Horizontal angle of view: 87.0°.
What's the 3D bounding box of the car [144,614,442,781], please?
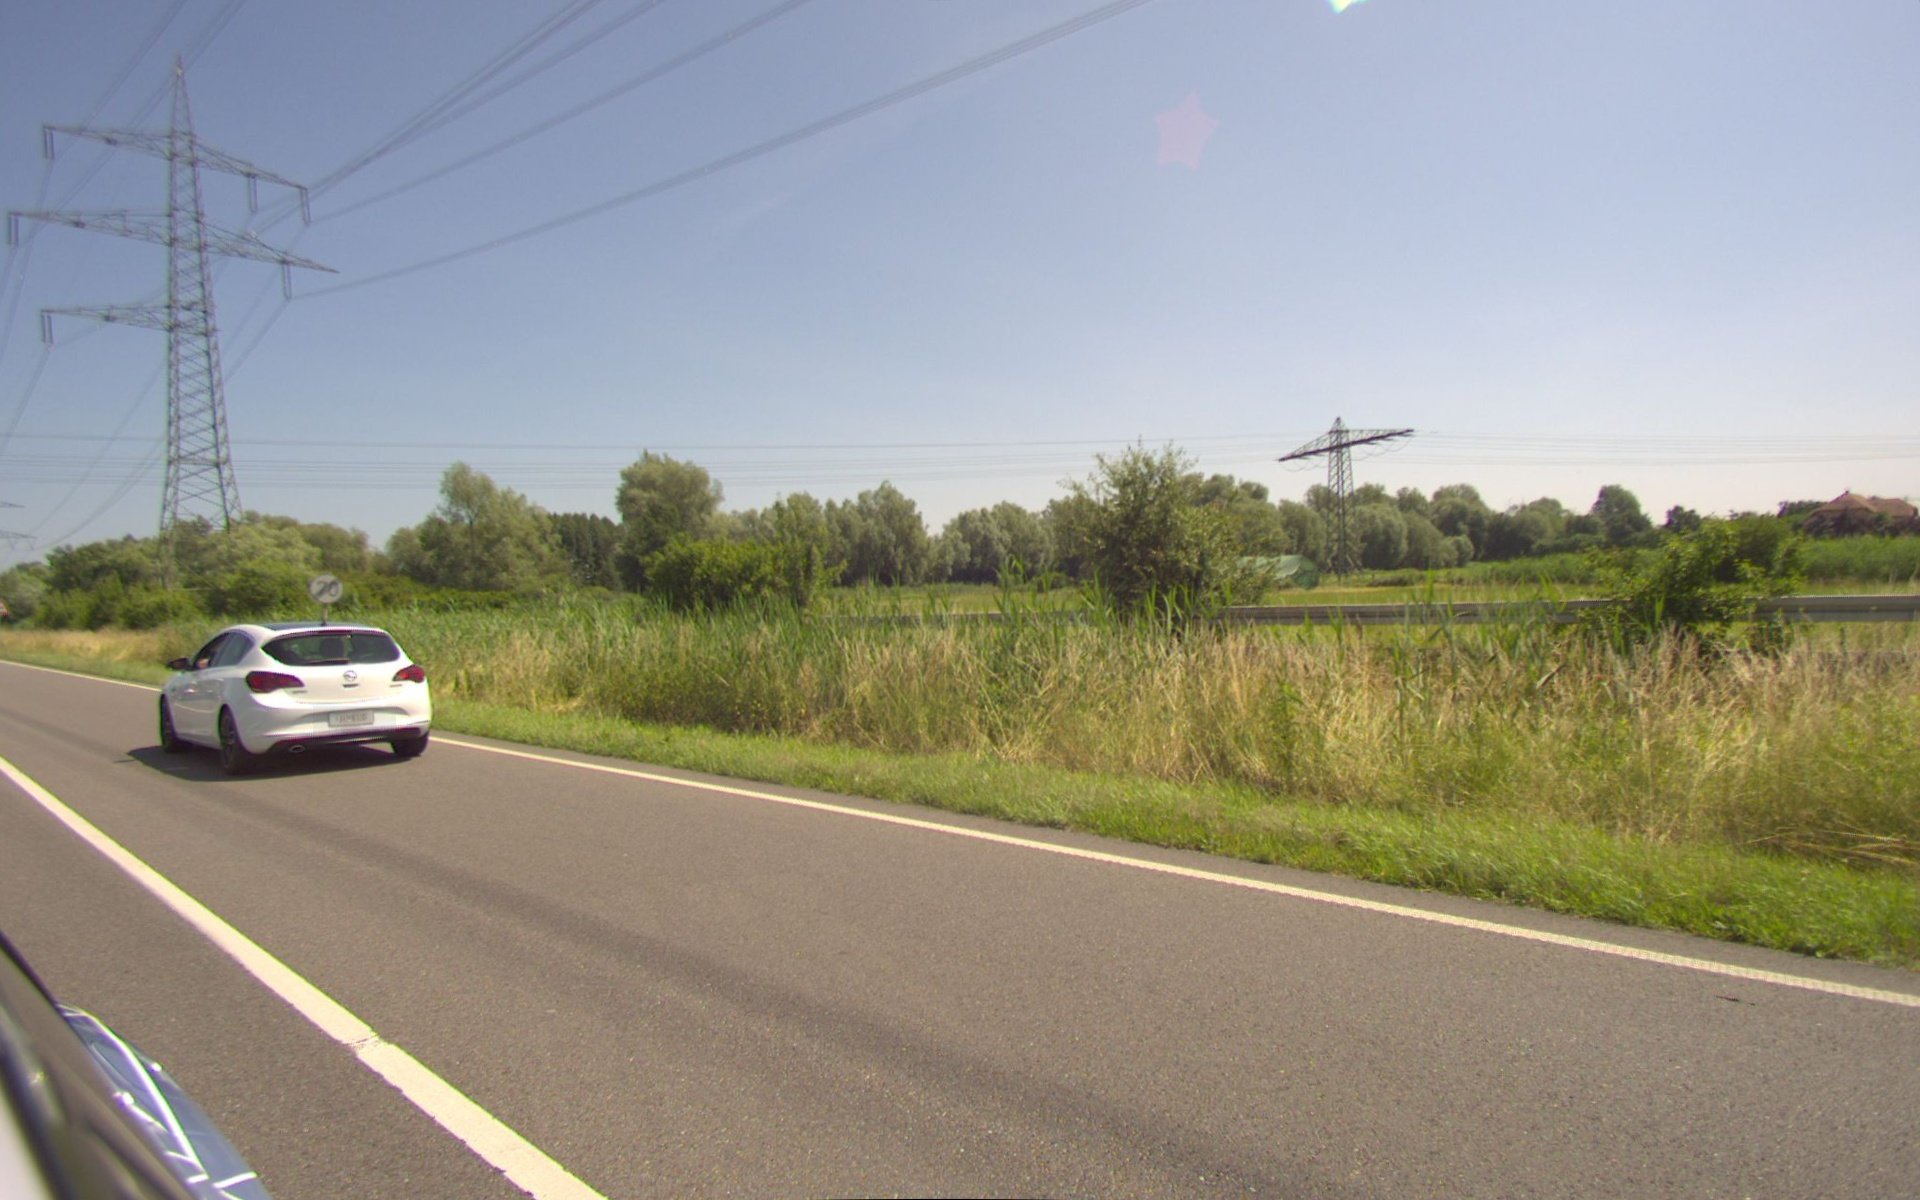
[{"bbox_3d":[-7.446,0.928,11.118,4.248,1.452,1.707,-2,0,42],"label":"car"}]
